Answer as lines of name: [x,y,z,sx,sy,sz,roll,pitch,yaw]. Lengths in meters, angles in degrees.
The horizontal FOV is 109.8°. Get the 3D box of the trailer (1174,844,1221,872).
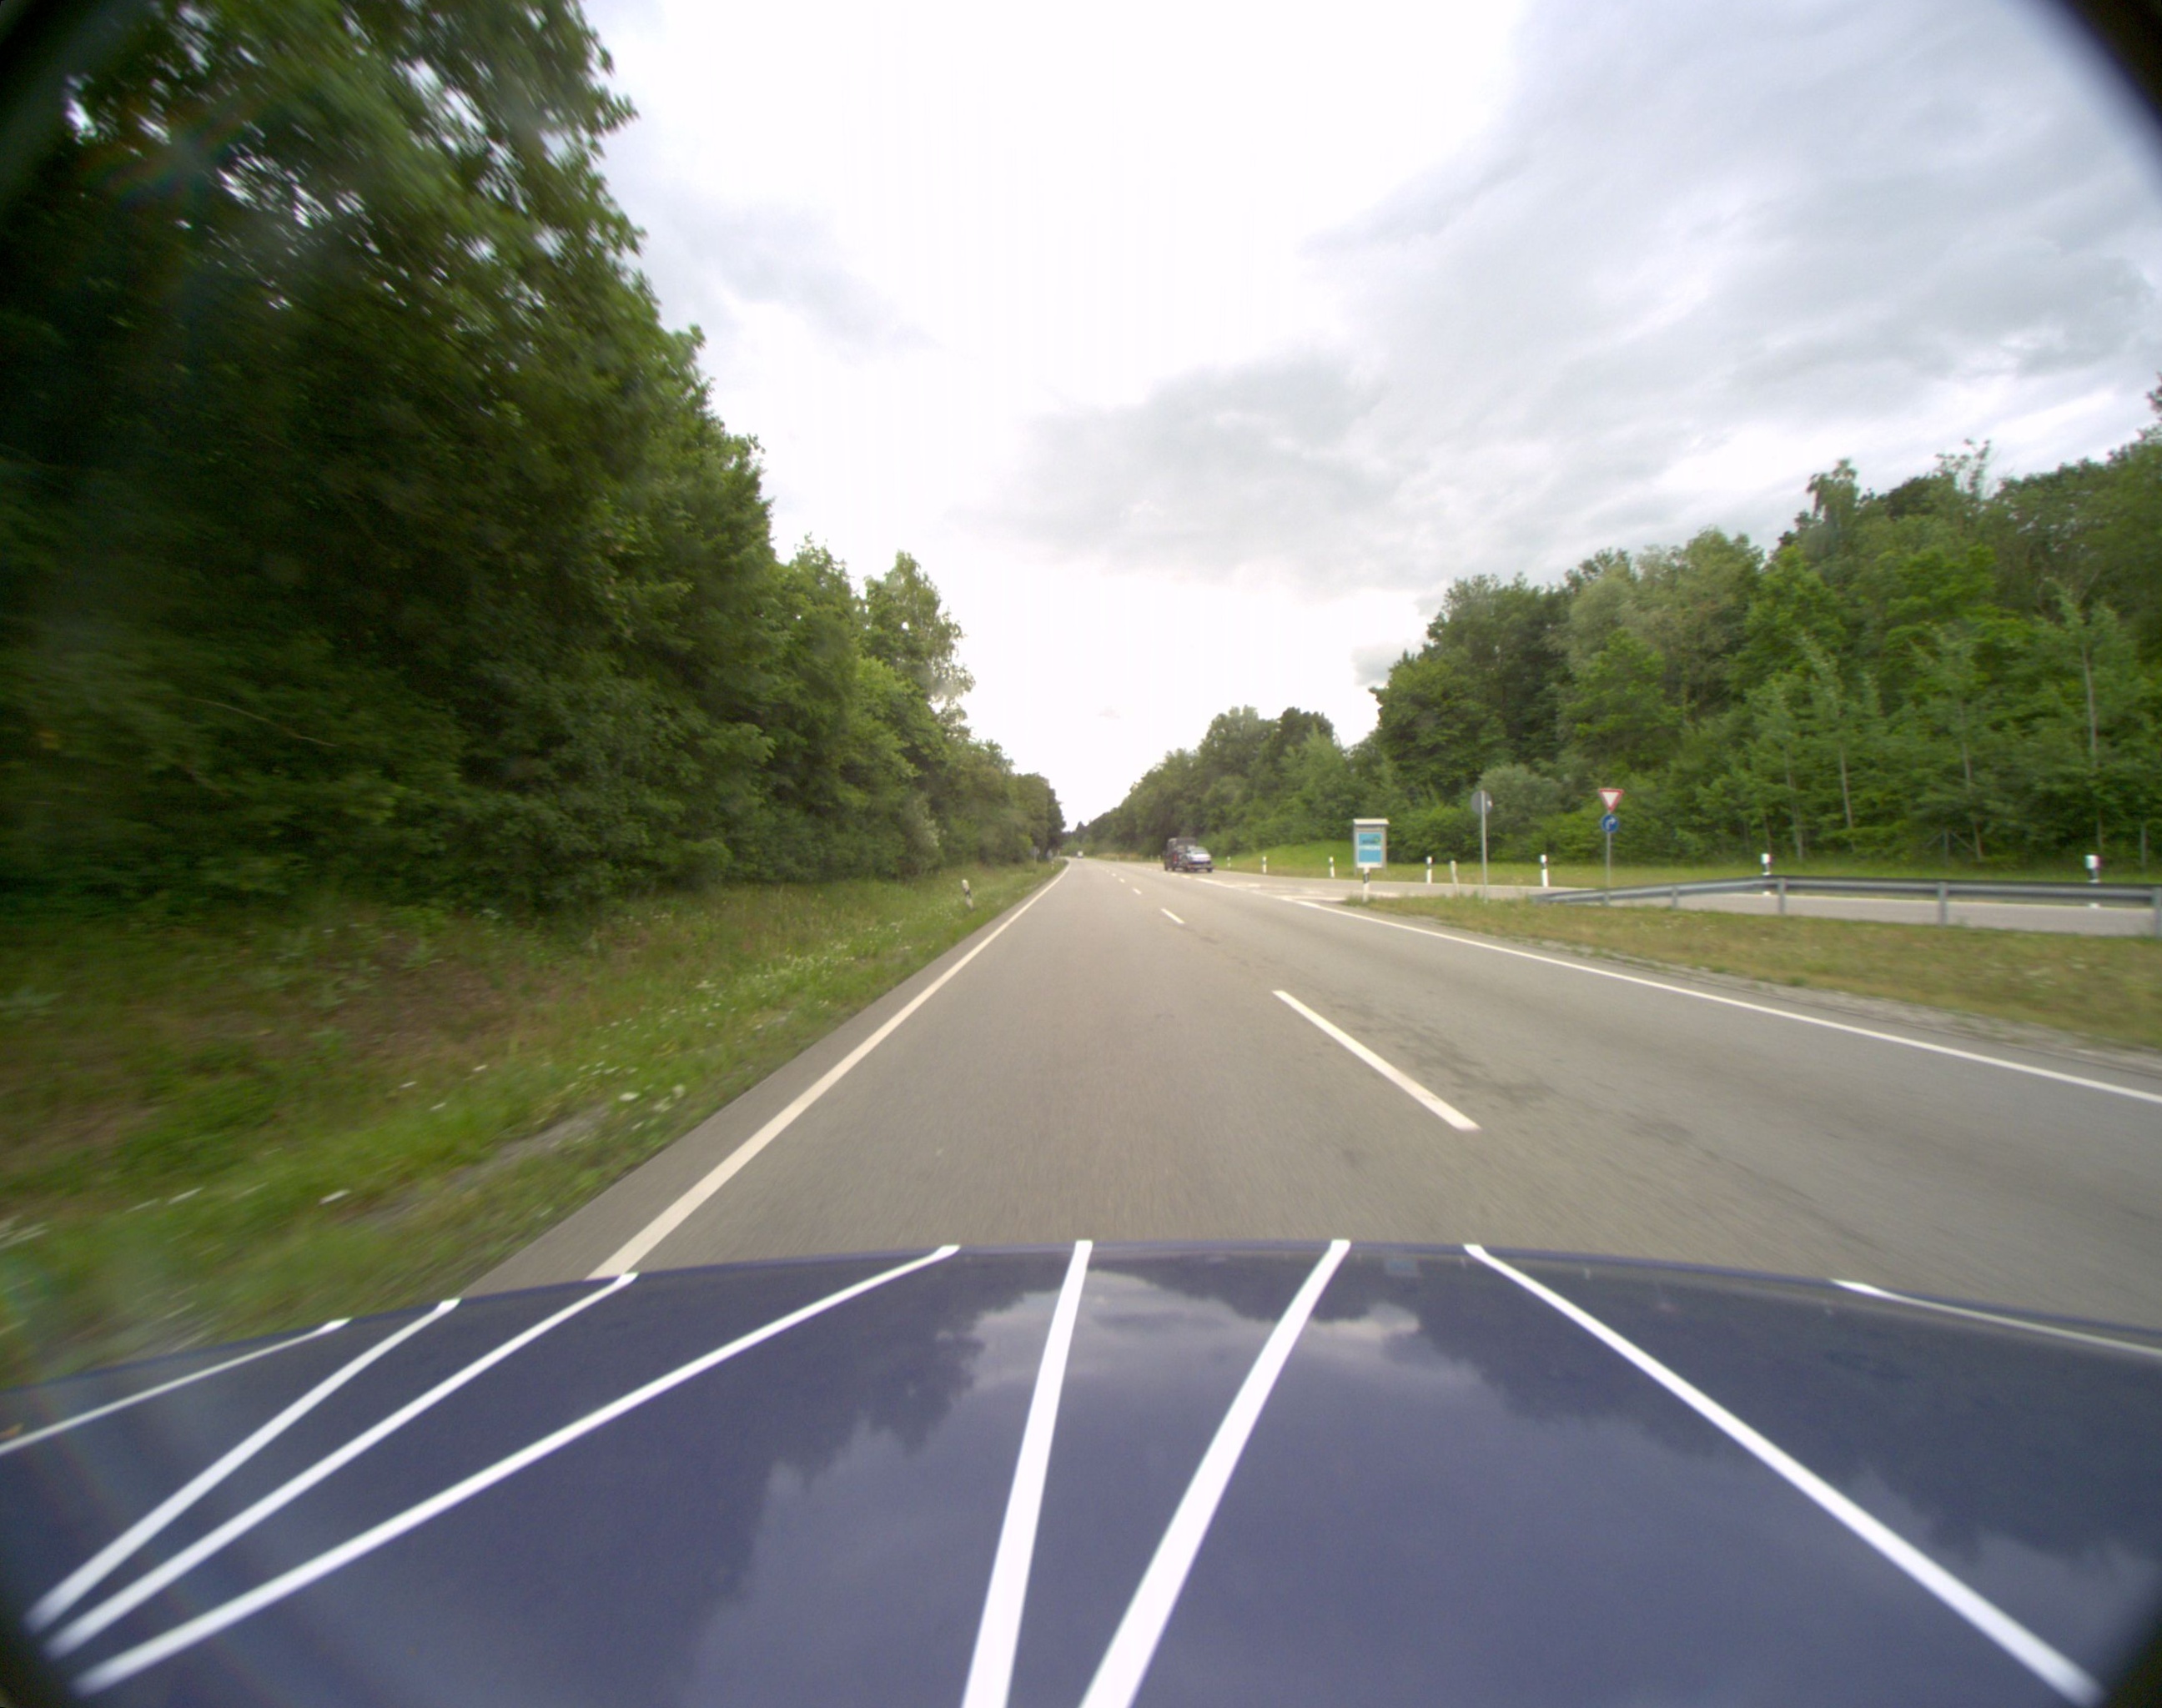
trailer: [8.327,0.251,54.782,2.060,1.781,5.687,-3,1,-4]

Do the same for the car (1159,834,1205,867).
car: [8.024,-0.287,61.242,2.262,2.515,7.160,-1,1,-4]
